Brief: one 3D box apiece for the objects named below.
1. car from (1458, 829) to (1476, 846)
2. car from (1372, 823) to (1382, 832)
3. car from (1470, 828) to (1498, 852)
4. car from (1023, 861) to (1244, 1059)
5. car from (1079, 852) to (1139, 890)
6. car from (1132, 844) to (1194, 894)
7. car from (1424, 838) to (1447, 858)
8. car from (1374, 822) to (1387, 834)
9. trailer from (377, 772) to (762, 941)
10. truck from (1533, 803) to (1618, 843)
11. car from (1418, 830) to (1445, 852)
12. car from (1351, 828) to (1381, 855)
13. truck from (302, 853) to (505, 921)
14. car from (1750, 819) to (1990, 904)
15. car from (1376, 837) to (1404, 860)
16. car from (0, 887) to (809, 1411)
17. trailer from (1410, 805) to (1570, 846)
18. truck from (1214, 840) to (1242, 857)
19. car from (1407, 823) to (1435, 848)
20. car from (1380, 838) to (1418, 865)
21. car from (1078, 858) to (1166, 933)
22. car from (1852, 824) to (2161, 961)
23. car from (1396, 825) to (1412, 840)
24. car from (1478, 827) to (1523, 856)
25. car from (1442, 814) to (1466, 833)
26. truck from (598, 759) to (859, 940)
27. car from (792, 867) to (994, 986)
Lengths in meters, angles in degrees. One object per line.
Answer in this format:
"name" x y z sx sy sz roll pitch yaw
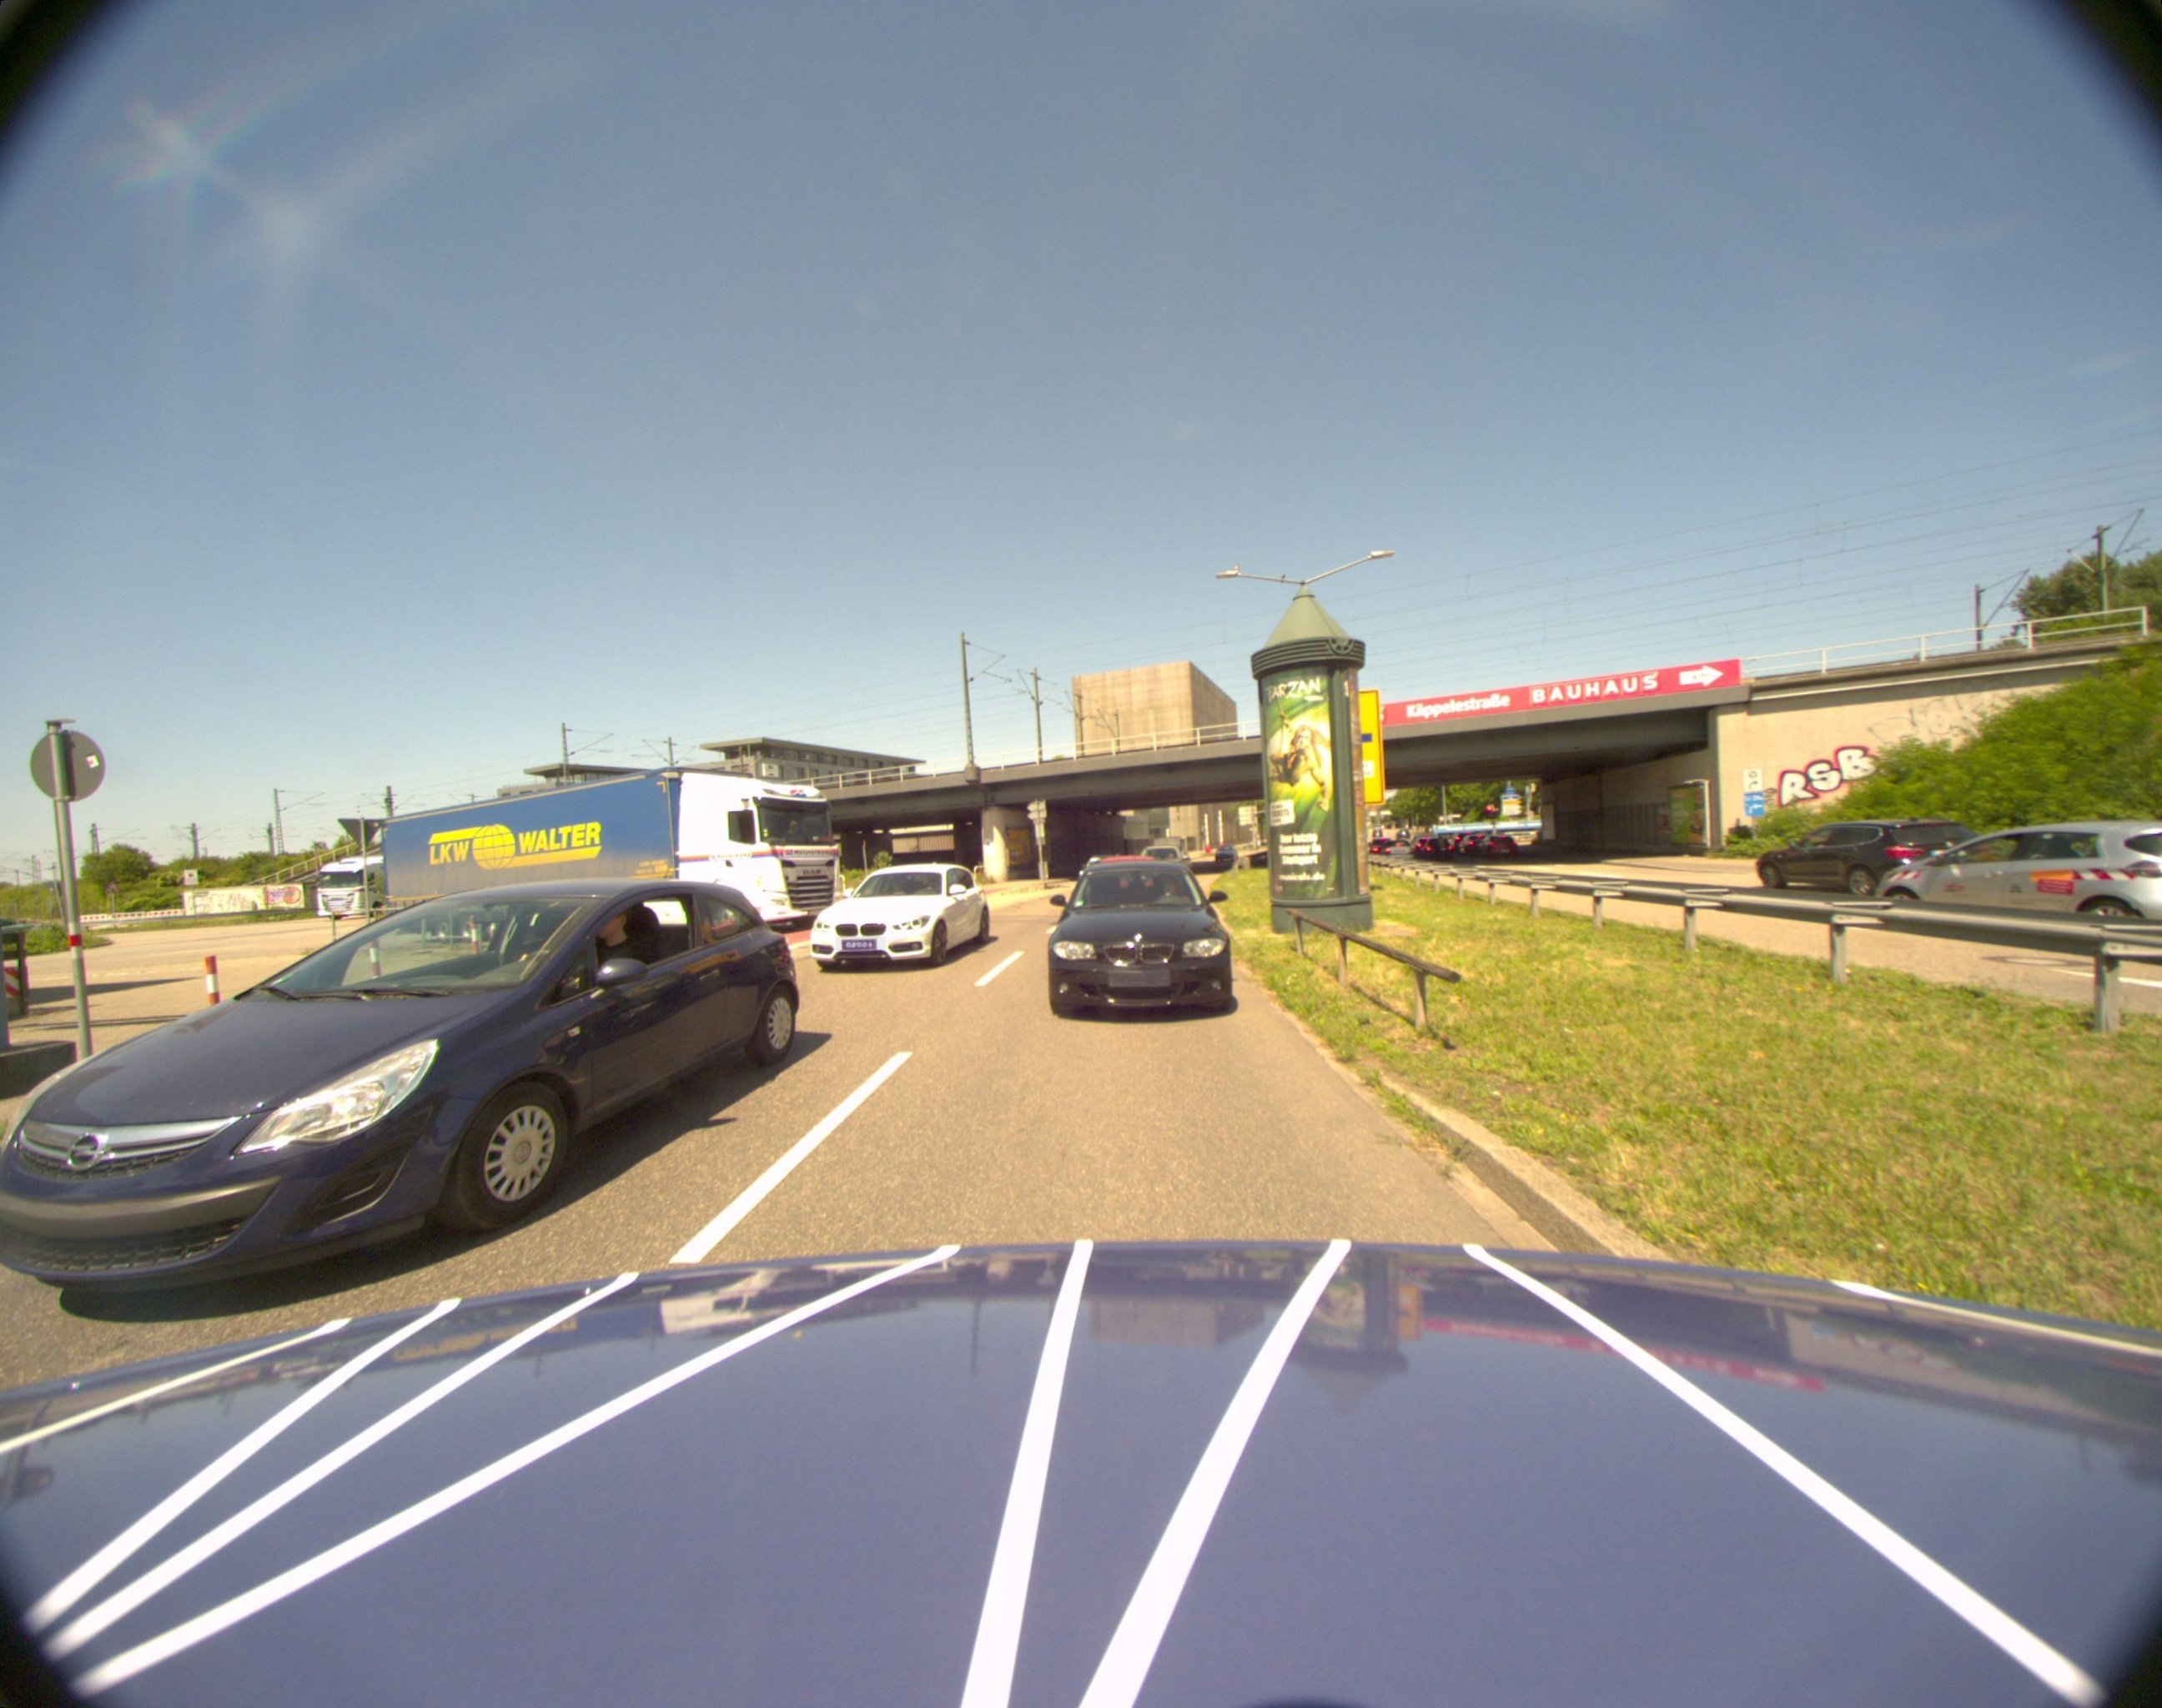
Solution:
"car" 29.928 -1.310 58.970 1.183 1.241 2.696 -2 1 26
"car" 70.302 -6.386 180.612 1.996 2.002 4.005 -2 1 21
"car" 27.881 -0.985 52.652 1.571 1.494 3.412 -2 1 26
"car" 0.587 0.863 8.008 1.681 1.409 4.057 -2 1 5
"car" 1.304 0.698 33.664 1.714 1.434 4.004 -2 1 16
"car" 3.191 0.504 28.913 1.844 1.686 3.702 -2 1 13
"car" 22.922 -0.417 49.109 1.268 1.178 2.782 -2 1 26
"car" 51.282 -4.437 130.022 1.836 2.002 4.005 -2 1 20
"trailer" -15.505 0.374 22.329 13.872 4.066 2.504 -3 1 26
"truck" 47.061 -2.929 72.557 6.549 3.398 3.027 -2 1 28
"car" 25.088 -0.946 54.377 1.617 1.468 3.438 -2 1 26
"car" 21.189 -0.929 56.428 1.904 1.849 4.005 -2 1 23
"truck" -48.639 2.006 55.857 2.754 4.079 17.421 -3 1 -12
"car" 17.712 0.120 17.404 1.491 1.623 4.476 -3 1 11
"car" 19.977 -0.365 49.069 1.410 1.311 3.266 -2 1 25
"car" -3.208 1.018 4.305 1.650 1.435 3.892 -2 0 4
"trailer" 40.791 -2.791 76.259 13.857 3.354 2.970 -2 1 32
"truck" 14.032 -0.517 72.401 1.728 1.493 4.006 -2 1 25
"car" 27.155 -1.503 60.755 1.904 1.849 4.005 -2 1 23
"car" 17.531 -0.183 42.028 1.636 1.395 4.227 -1 1 18
"car" 1.010 0.828 16.721 1.646 1.391 4.054 -1 0 7
"car" 13.241 0.408 10.351 1.637 1.558 4.074 -1 0 6
"car" 47.196 -3.177 111.103 1.836 2.002 4.005 -2 1 20
"car" 26.031 -0.773 47.247 1.774 1.658 4.020 -2 1 20
"car" 41.318 -3.380 84.232 1.996 2.002 4.005 -2 1 21
"truck" -8.933 -0.042 19.337 5.749 4.078 2.579 -2 1 21
"car" -2.672 0.974 11.857 1.762 1.435 4.054 -1 0 6
